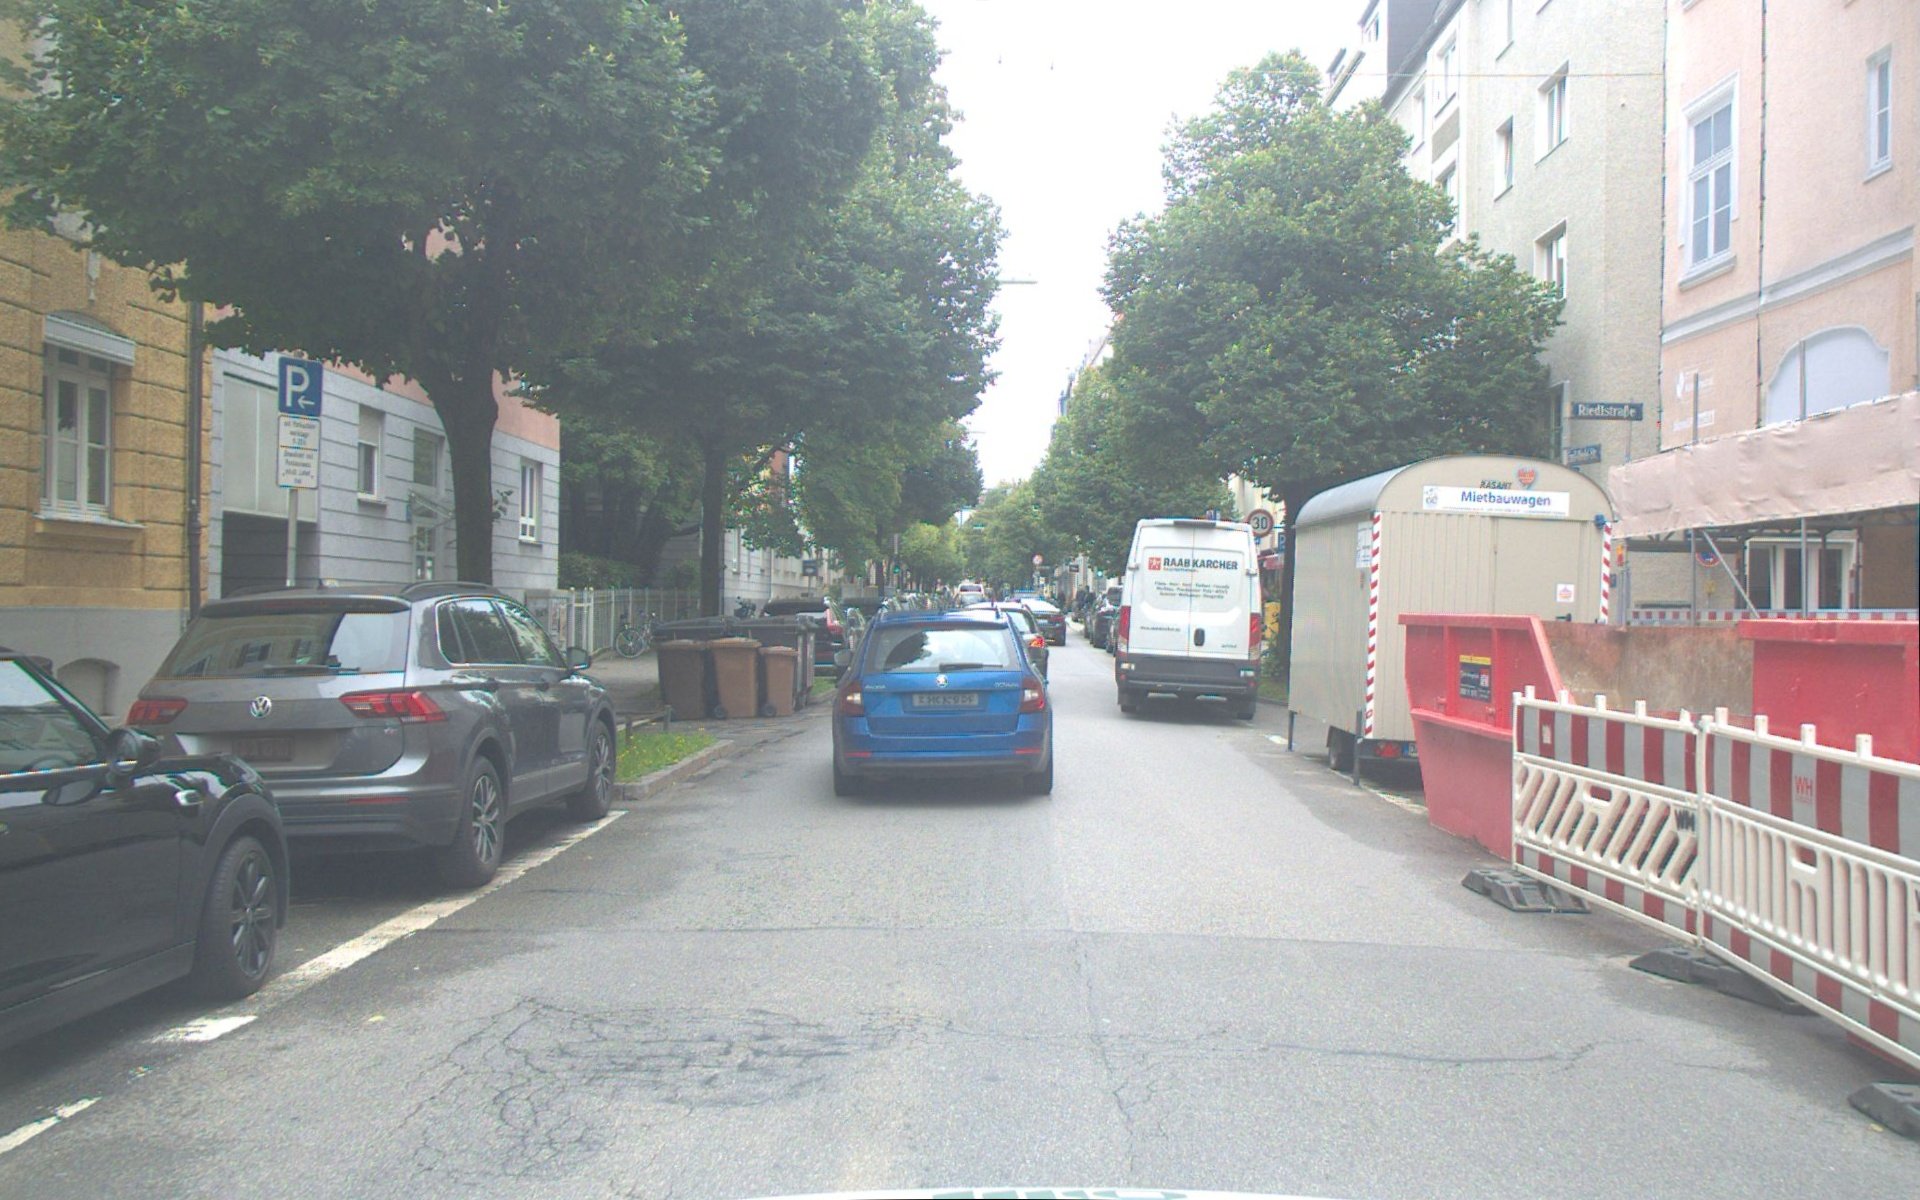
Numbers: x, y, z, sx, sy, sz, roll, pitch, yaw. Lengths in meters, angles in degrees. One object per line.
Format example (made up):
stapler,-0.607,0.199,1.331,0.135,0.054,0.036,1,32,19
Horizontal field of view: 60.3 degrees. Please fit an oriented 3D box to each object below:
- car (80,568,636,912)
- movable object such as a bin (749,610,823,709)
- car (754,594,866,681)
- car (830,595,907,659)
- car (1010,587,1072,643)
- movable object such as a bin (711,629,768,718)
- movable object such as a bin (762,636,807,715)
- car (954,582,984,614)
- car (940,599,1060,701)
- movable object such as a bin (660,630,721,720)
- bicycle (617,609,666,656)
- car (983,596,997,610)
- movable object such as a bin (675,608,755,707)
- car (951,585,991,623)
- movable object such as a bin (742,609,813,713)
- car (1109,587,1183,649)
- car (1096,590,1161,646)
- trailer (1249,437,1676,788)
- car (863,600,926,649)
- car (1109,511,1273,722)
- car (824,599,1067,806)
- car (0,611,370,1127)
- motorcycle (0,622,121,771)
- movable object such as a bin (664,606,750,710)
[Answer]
car,-3.331,0.680,10.106,1.748,1.657,4.186,0,0,2
movable object such as a bin,-2.566,0.862,24.509,1.000,1.400,1.103,-1,0,-3
car,-2.769,0.657,31.236,1.775,1.504,3.999,1,0,-1
car,-2.272,0.654,41.964,1.775,1.504,3.999,1,0,-1
car,2.644,0.465,55.003,1.829,1.726,4.347,2,0,0
movable object such as a bin,-2.994,0.992,22.499,0.697,1.168,0.636,-1,0,-2
movable object such as a bin,-2.387,1.019,22.554,0.535,1.038,0.636,-1,0,-2
car,0.555,-0.140,103.427,1.829,1.902,4.347,2,0,0
car,0.682,0.737,25.776,1.705,1.446,3.665,1,0,3
movable object such as a bin,-3.649,1.008,22.451,0.706,1.158,0.658,-1,0,-2
bicycle,-7.621,0.760,39.651,0.621,1.086,2.388,0,0,2
car,3.927,0.380,214.809,1.829,1.770,4.348,0,0,1
movable object such as a bin,-3.602,0.828,24.439,1.036,1.400,1.095,-1,0,-3
car,0.553,0.158,79.858,1.829,1.726,4.347,2,0,0
movable object such as a bin,-2.574,0.846,23.411,0.899,1.400,1.079,-1,0,-3
car,5.386,0.499,48.338,1.787,1.757,4.000,0,0,1
car,5.529,0.565,54.555,1.787,1.757,4.000,0,0,1
trailer,4.850,0.139,17.434,2.450,2.889,6.901,2,-1,1
car,-2.096,0.779,54.005,1.775,1.504,4.001,1,0,1
car,3.367,0.252,24.546,2.068,2.710,5.504,2,-1,7
car,-0.073,0.752,14.096,1.752,1.486,4.315,0,0,1
car,-3.464,0.752,5.298,1.663,1.434,3.709,0,0,3
motorcycle,-7.866,0.772,13.676,0.625,1.147,2.428,0,0,0
movable object such as a bin,-3.551,0.802,23.338,1.060,1.400,1.083,-1,0,-3
